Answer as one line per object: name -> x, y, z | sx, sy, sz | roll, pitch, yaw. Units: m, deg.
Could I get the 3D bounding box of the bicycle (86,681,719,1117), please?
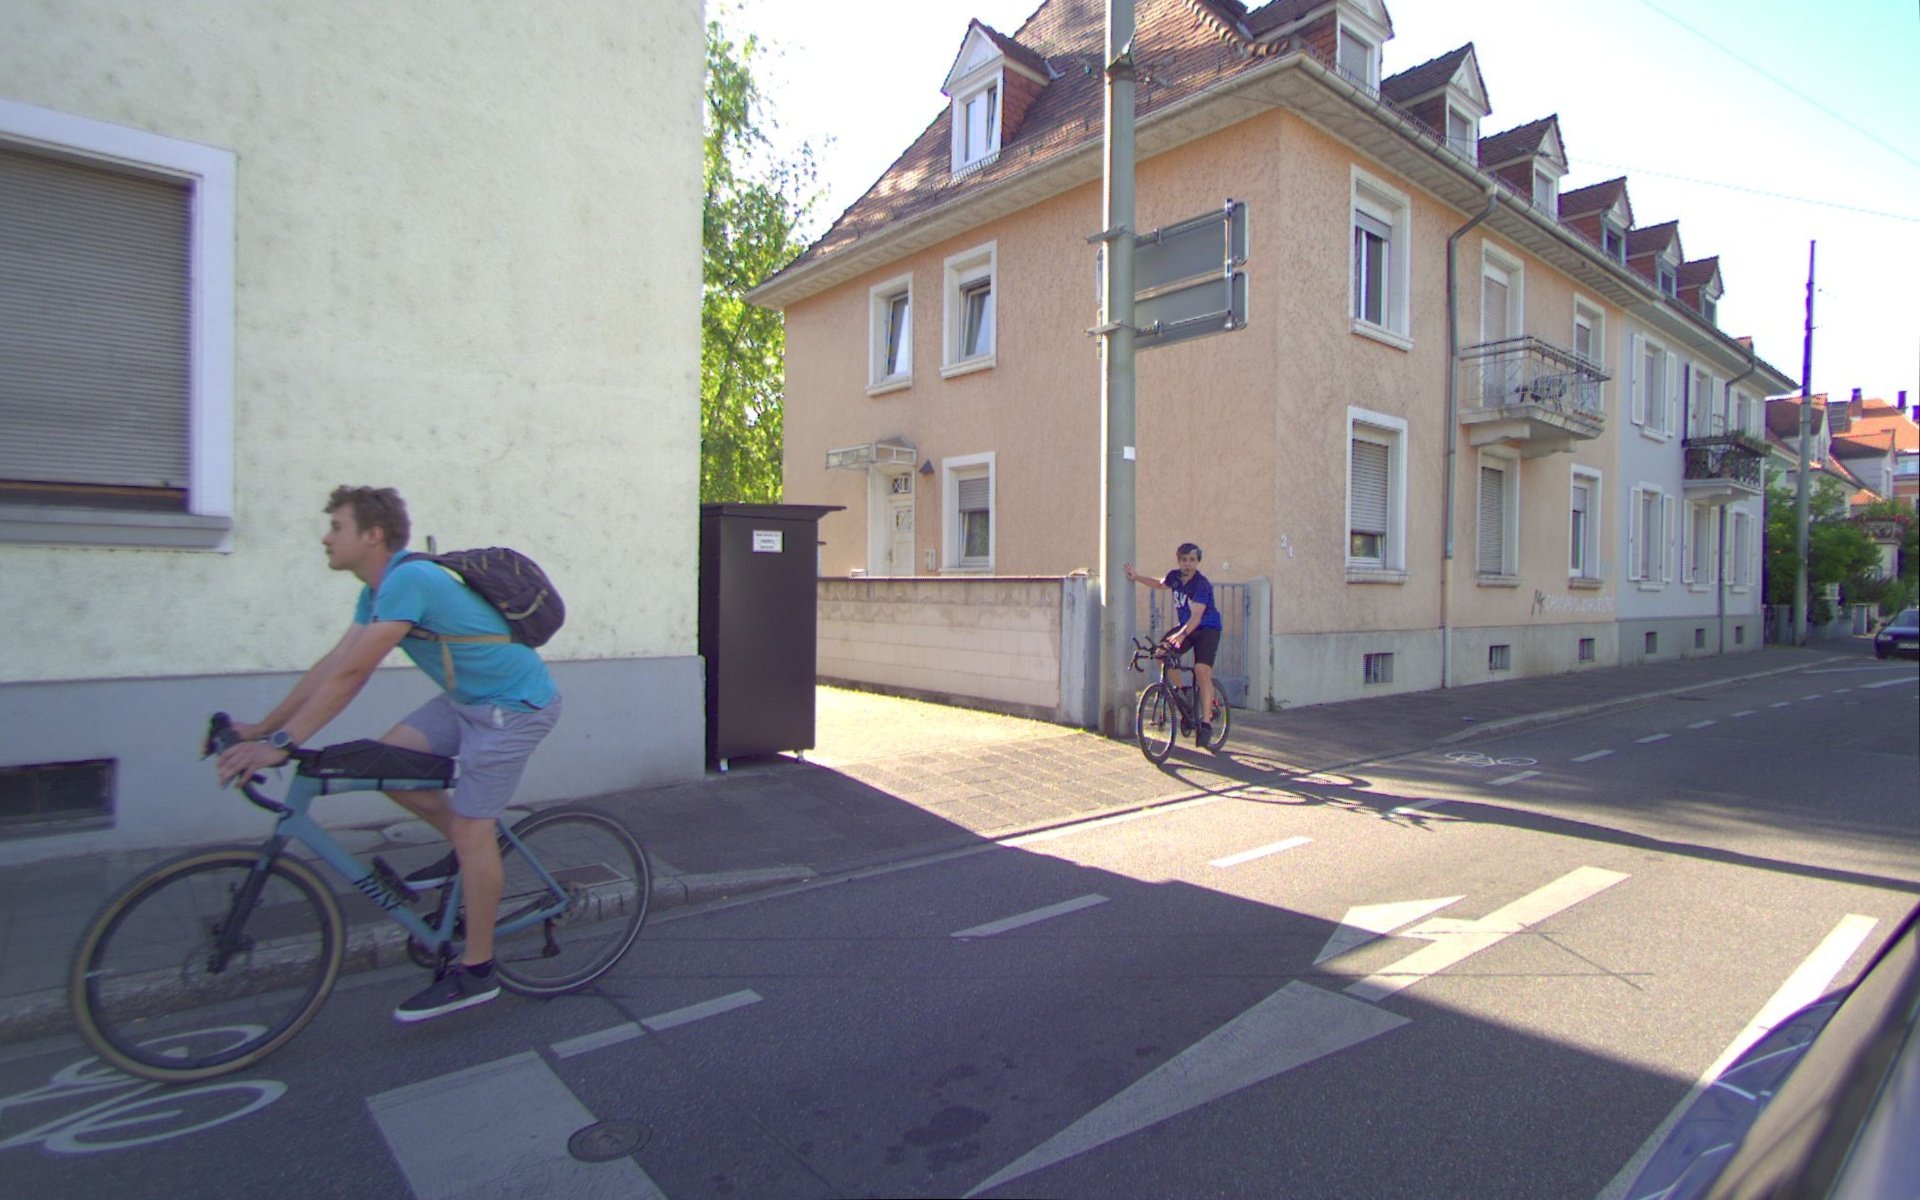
bicycle -> -1.781, 0.861, 3.469 | 1.762, 1.105, 0.519 | 3, -1, -38

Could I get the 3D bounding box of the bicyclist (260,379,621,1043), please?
bicyclist -> -1.769, 0.338, 3.480 | 0.928, 1.959, 0.519 | 4, -2, -38

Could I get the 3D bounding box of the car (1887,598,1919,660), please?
car -> 26.707, 0.750, 27.371 | 3.742, 1.601, 1.696 | 0, -1, -36

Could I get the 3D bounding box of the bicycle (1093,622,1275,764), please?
bicycle -> 2.035, 0.778, 9.073 | 1.744, 1.081, 0.592 | 0, 5, -41

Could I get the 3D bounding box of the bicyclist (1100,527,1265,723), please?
bicyclist -> 2.032, 0.188, 9.309 | 0.870, 1.627, 1.052 | 1, 5, -41
